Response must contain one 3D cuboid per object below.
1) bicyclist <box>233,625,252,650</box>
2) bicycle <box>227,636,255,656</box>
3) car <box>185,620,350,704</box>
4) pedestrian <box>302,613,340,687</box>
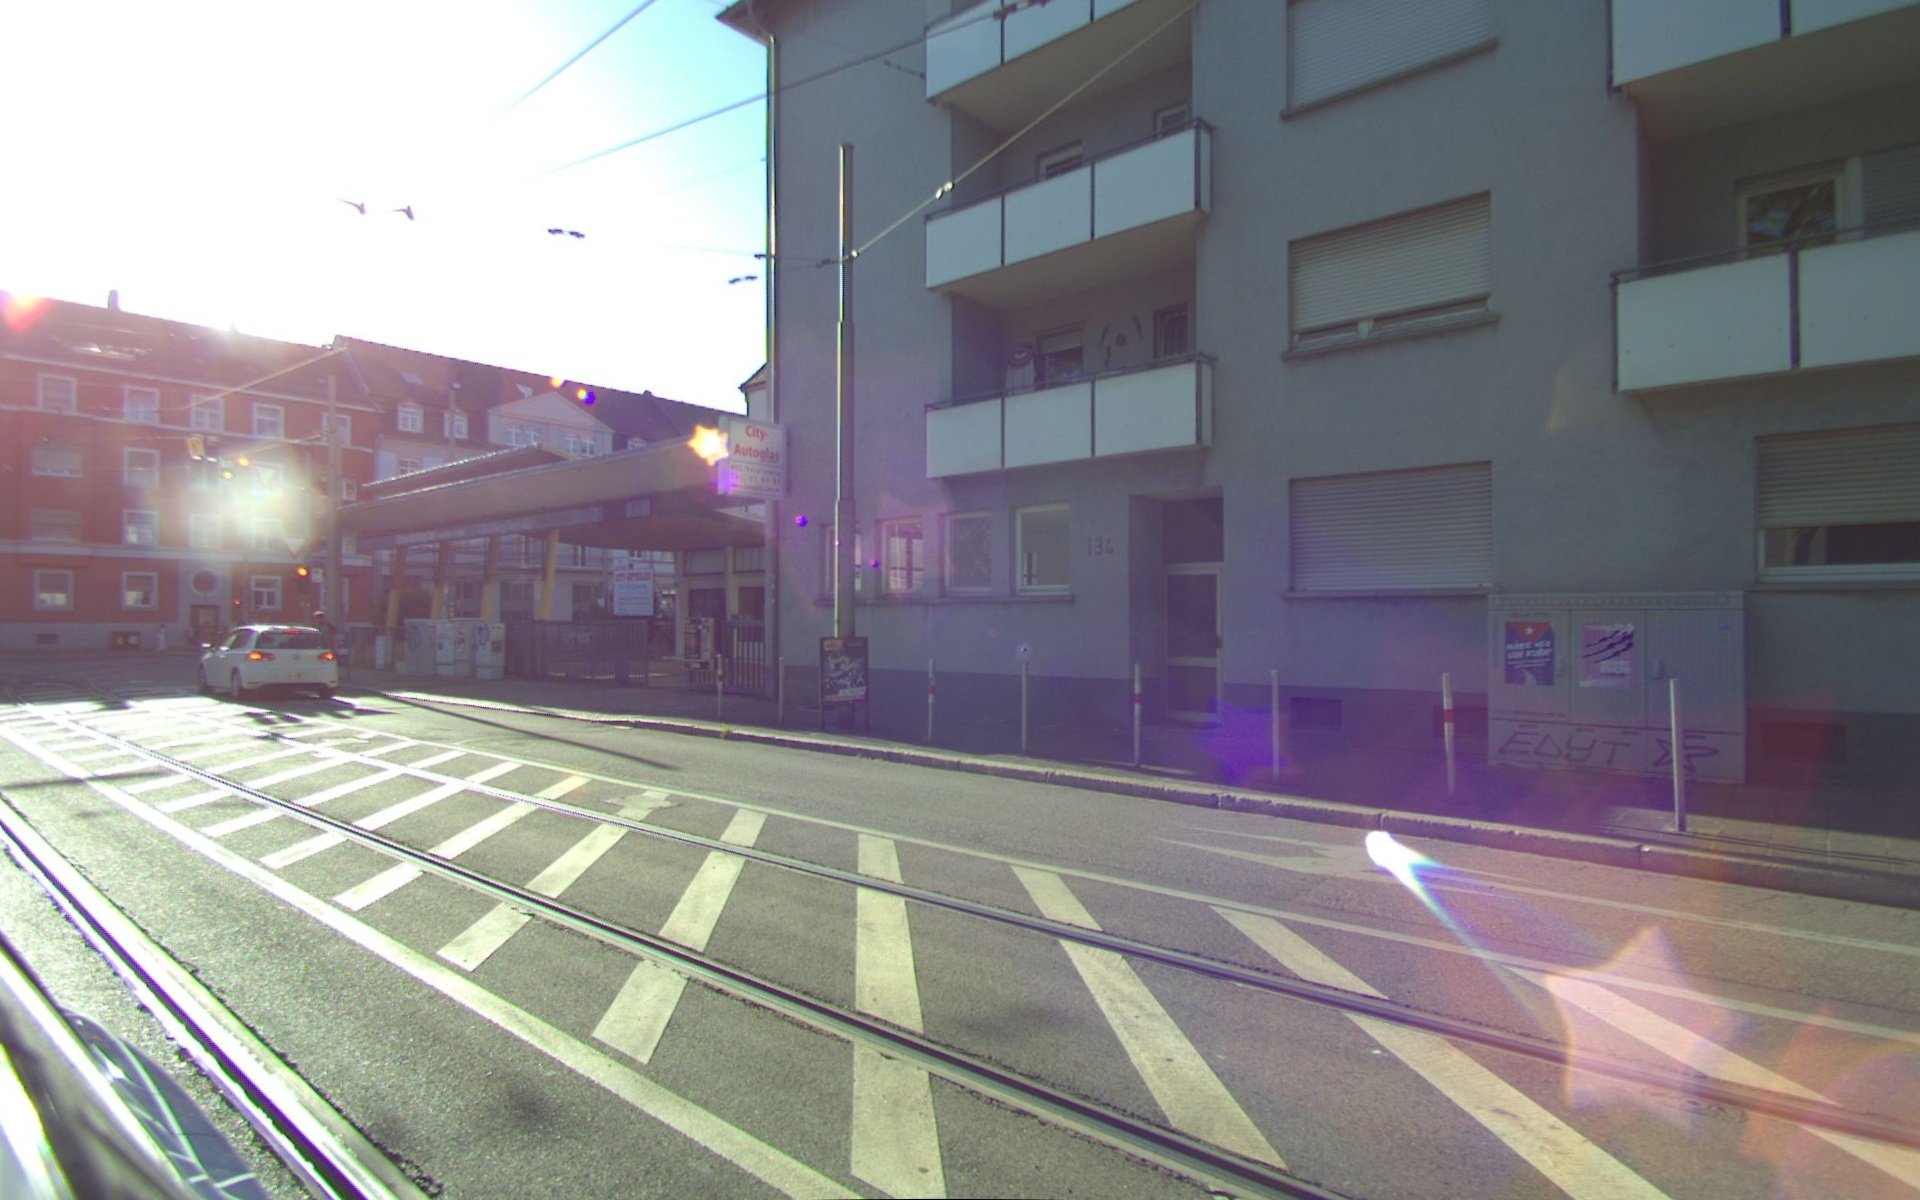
[{"bbox_3d":[-35.708,1.869,50.363,0.666,1.233,0.548,-1,0,32],"label":"bicyclist"},{"bbox_3d":[-35.851,2.264,50.444,1.672,0.956,0.548,-1,0,32],"label":"bicycle"},{"bbox_3d":[-14.446,1.206,21.040,3.998,1.536,1.898,-1,0,41],"label":"car"},{"bbox_3d":[-15.615,1.206,24.746,0.583,1.787,0.631,-1,0,41],"label":"pedestrian"}]
